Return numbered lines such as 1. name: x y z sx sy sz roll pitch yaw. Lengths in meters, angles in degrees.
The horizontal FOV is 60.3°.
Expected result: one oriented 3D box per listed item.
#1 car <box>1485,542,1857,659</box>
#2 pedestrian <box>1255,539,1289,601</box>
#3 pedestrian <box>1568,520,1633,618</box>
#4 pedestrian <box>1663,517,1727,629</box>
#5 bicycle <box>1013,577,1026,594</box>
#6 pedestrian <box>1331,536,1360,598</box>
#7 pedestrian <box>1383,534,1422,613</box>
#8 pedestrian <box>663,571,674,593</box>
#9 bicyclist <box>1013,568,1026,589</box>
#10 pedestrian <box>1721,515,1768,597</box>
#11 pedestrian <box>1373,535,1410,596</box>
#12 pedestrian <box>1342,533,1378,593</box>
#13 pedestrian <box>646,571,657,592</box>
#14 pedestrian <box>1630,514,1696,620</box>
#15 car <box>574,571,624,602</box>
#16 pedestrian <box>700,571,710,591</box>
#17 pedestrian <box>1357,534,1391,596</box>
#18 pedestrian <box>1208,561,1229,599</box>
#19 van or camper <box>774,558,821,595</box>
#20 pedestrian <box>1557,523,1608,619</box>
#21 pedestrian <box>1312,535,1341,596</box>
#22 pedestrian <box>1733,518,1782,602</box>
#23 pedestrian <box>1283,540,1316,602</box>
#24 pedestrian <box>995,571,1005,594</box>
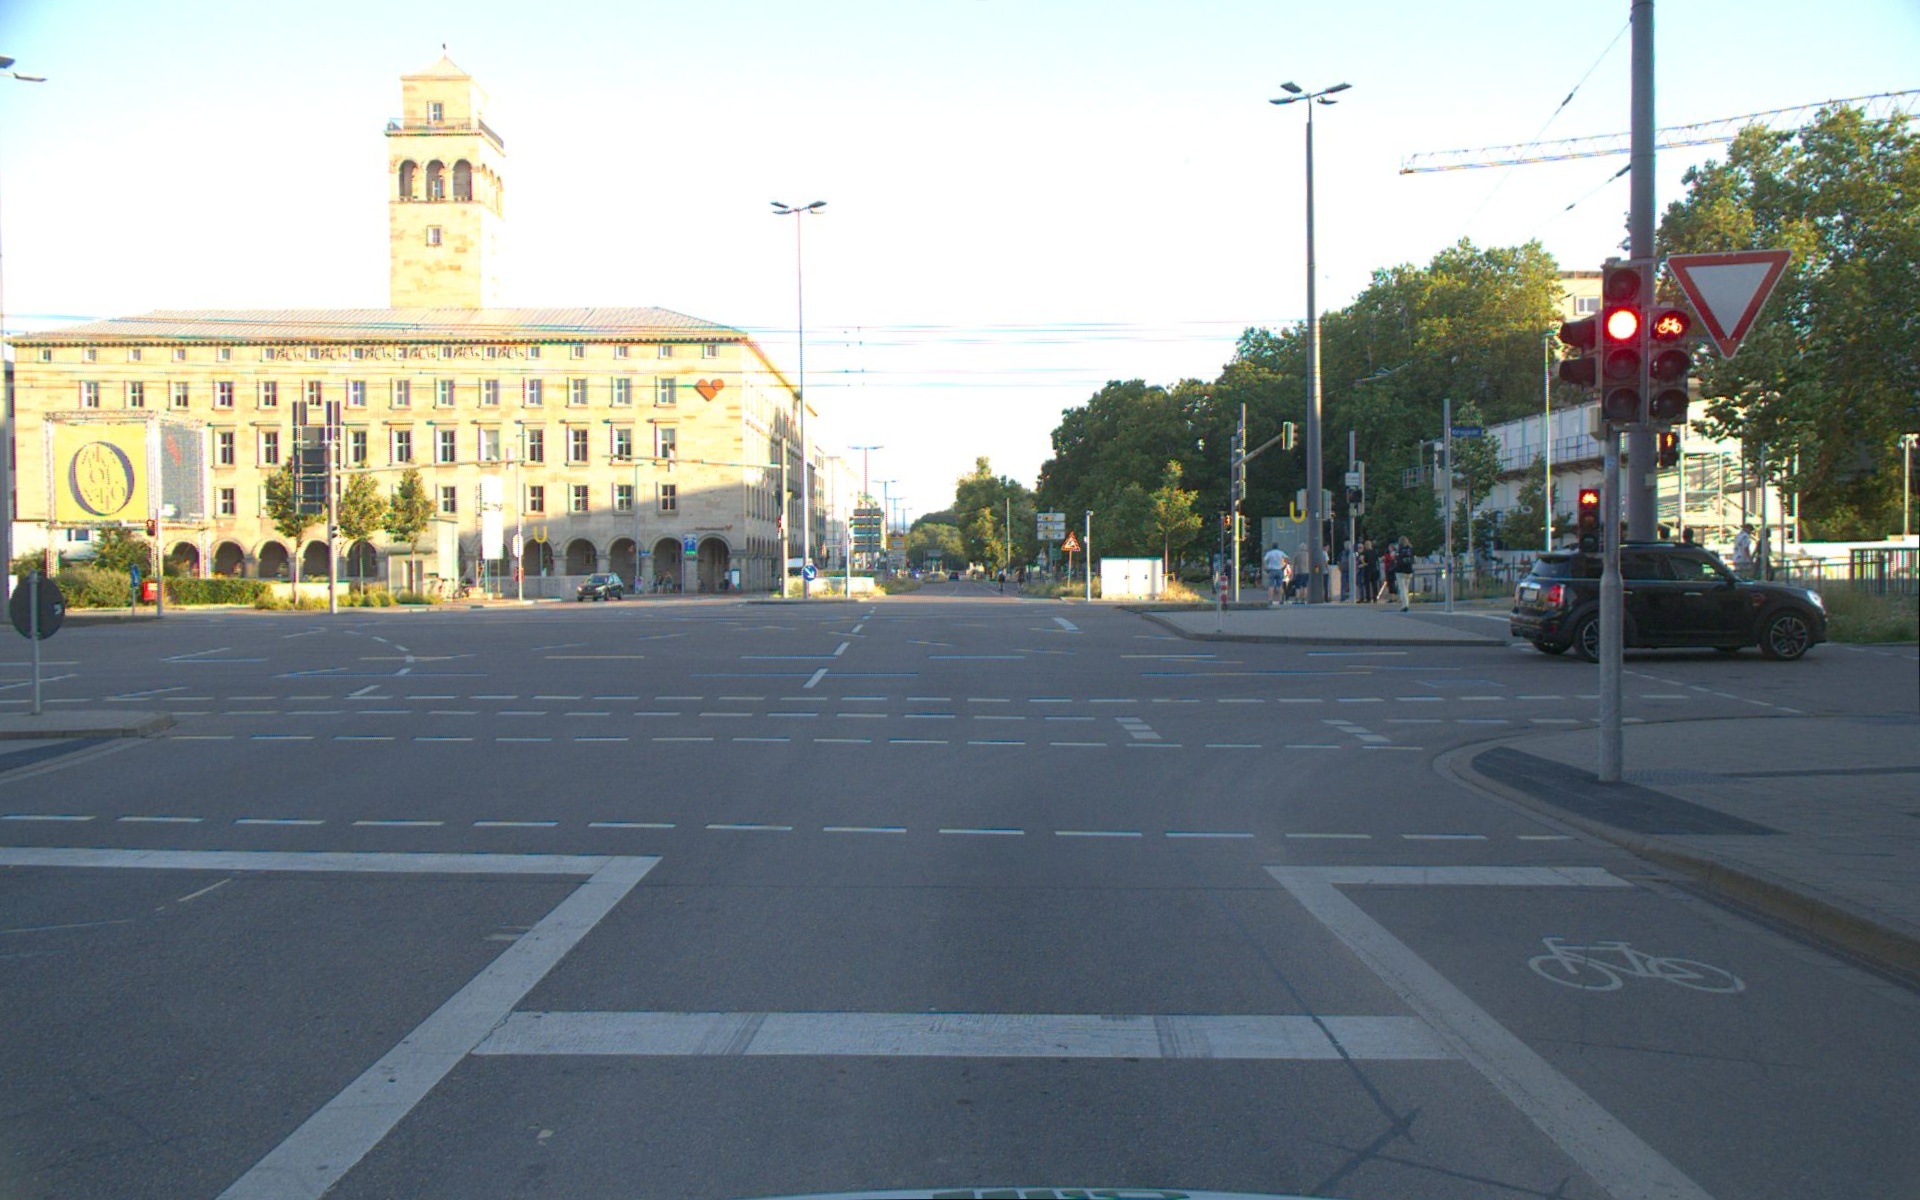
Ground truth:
1. car: 9.961 -0.025 23.443 4.370 1.522 2.128 -1 1 -1
2. pedestrian: 8.960 -0.873 47.524 0.792 1.760 0.688 -1 1 -2
3. pedestrian: 11.607 -0.563 29.988 0.875 1.760 0.687 -1 1 -3
4. pedestrian: 12.534 -0.459 28.200 0.878 1.862 0.685 0 1 36
5. bicycle: 3.629 -0.899 100.294 0.638 0.987 1.483 -1 1 -4
6. pedestrian: 11.129 -0.952 47.784 0.791 1.760 0.688 0 1 12
7. pedestrian: 9.987 -0.606 37.353 0.677 1.760 0.741 -1 1 1
8. pedestrian: -21.384 -1.323 121.309 0.620 1.595 0.775 -1 1 1
9. bicyclist: 3.605 -1.329 100.269 0.638 1.244 0.860 -1 1 -4
10. pedestrian: 17.147 -0.959 36.172 0.671 1.760 0.839 -1 1 3
11. pedestrian: 12.605 -1.019 48.345 0.677 1.760 0.804 -1 1 -26
12. pedestrian: 11.903 -1.095 49.208 0.679 1.760 0.801 -1 1 -33
13. pedestrian: -22.652 -1.359 121.335 0.620 1.595 0.775 -1 1 1
14. pedestrian: 12.688 -0.600 29.850 0.875 1.872 0.687 -1 1 -4
15. car: -20.719 -0.804 95.151 1.952 1.691 4.001 -1 1 1
16. pedestrian: -20.659 -1.552 133.971 0.758 1.595 0.634 -1 1 -10
17. pedestrian: 11.946 -1.010 47.728 0.792 1.760 0.688 -1 1 -2
18. pedestrian: 12.043 -0.925 76.990 0.792 1.760 0.929 -1 1 -2
19. van or camper: -12.567 -1.861 128.356 1.844 2.808 4.935 0 1 17
20. pedestrian: 11.689 -0.552 31.079 0.671 1.760 0.896 -1 1 5
21. pedestrian: 10.744 -1.013 48.503 0.791 1.760 0.688 0 1 12
22. pedestrian: 17.031 -0.848 35.318 0.671 1.760 0.839 -1 1 4
23. pedestrian: 9.766 -0.833 47.617 0.792 1.760 0.688 -1 1 -2
24. pedestrian: 2.448 -1.090 101.743 0.512 1.398 0.687 -1 1 -4
